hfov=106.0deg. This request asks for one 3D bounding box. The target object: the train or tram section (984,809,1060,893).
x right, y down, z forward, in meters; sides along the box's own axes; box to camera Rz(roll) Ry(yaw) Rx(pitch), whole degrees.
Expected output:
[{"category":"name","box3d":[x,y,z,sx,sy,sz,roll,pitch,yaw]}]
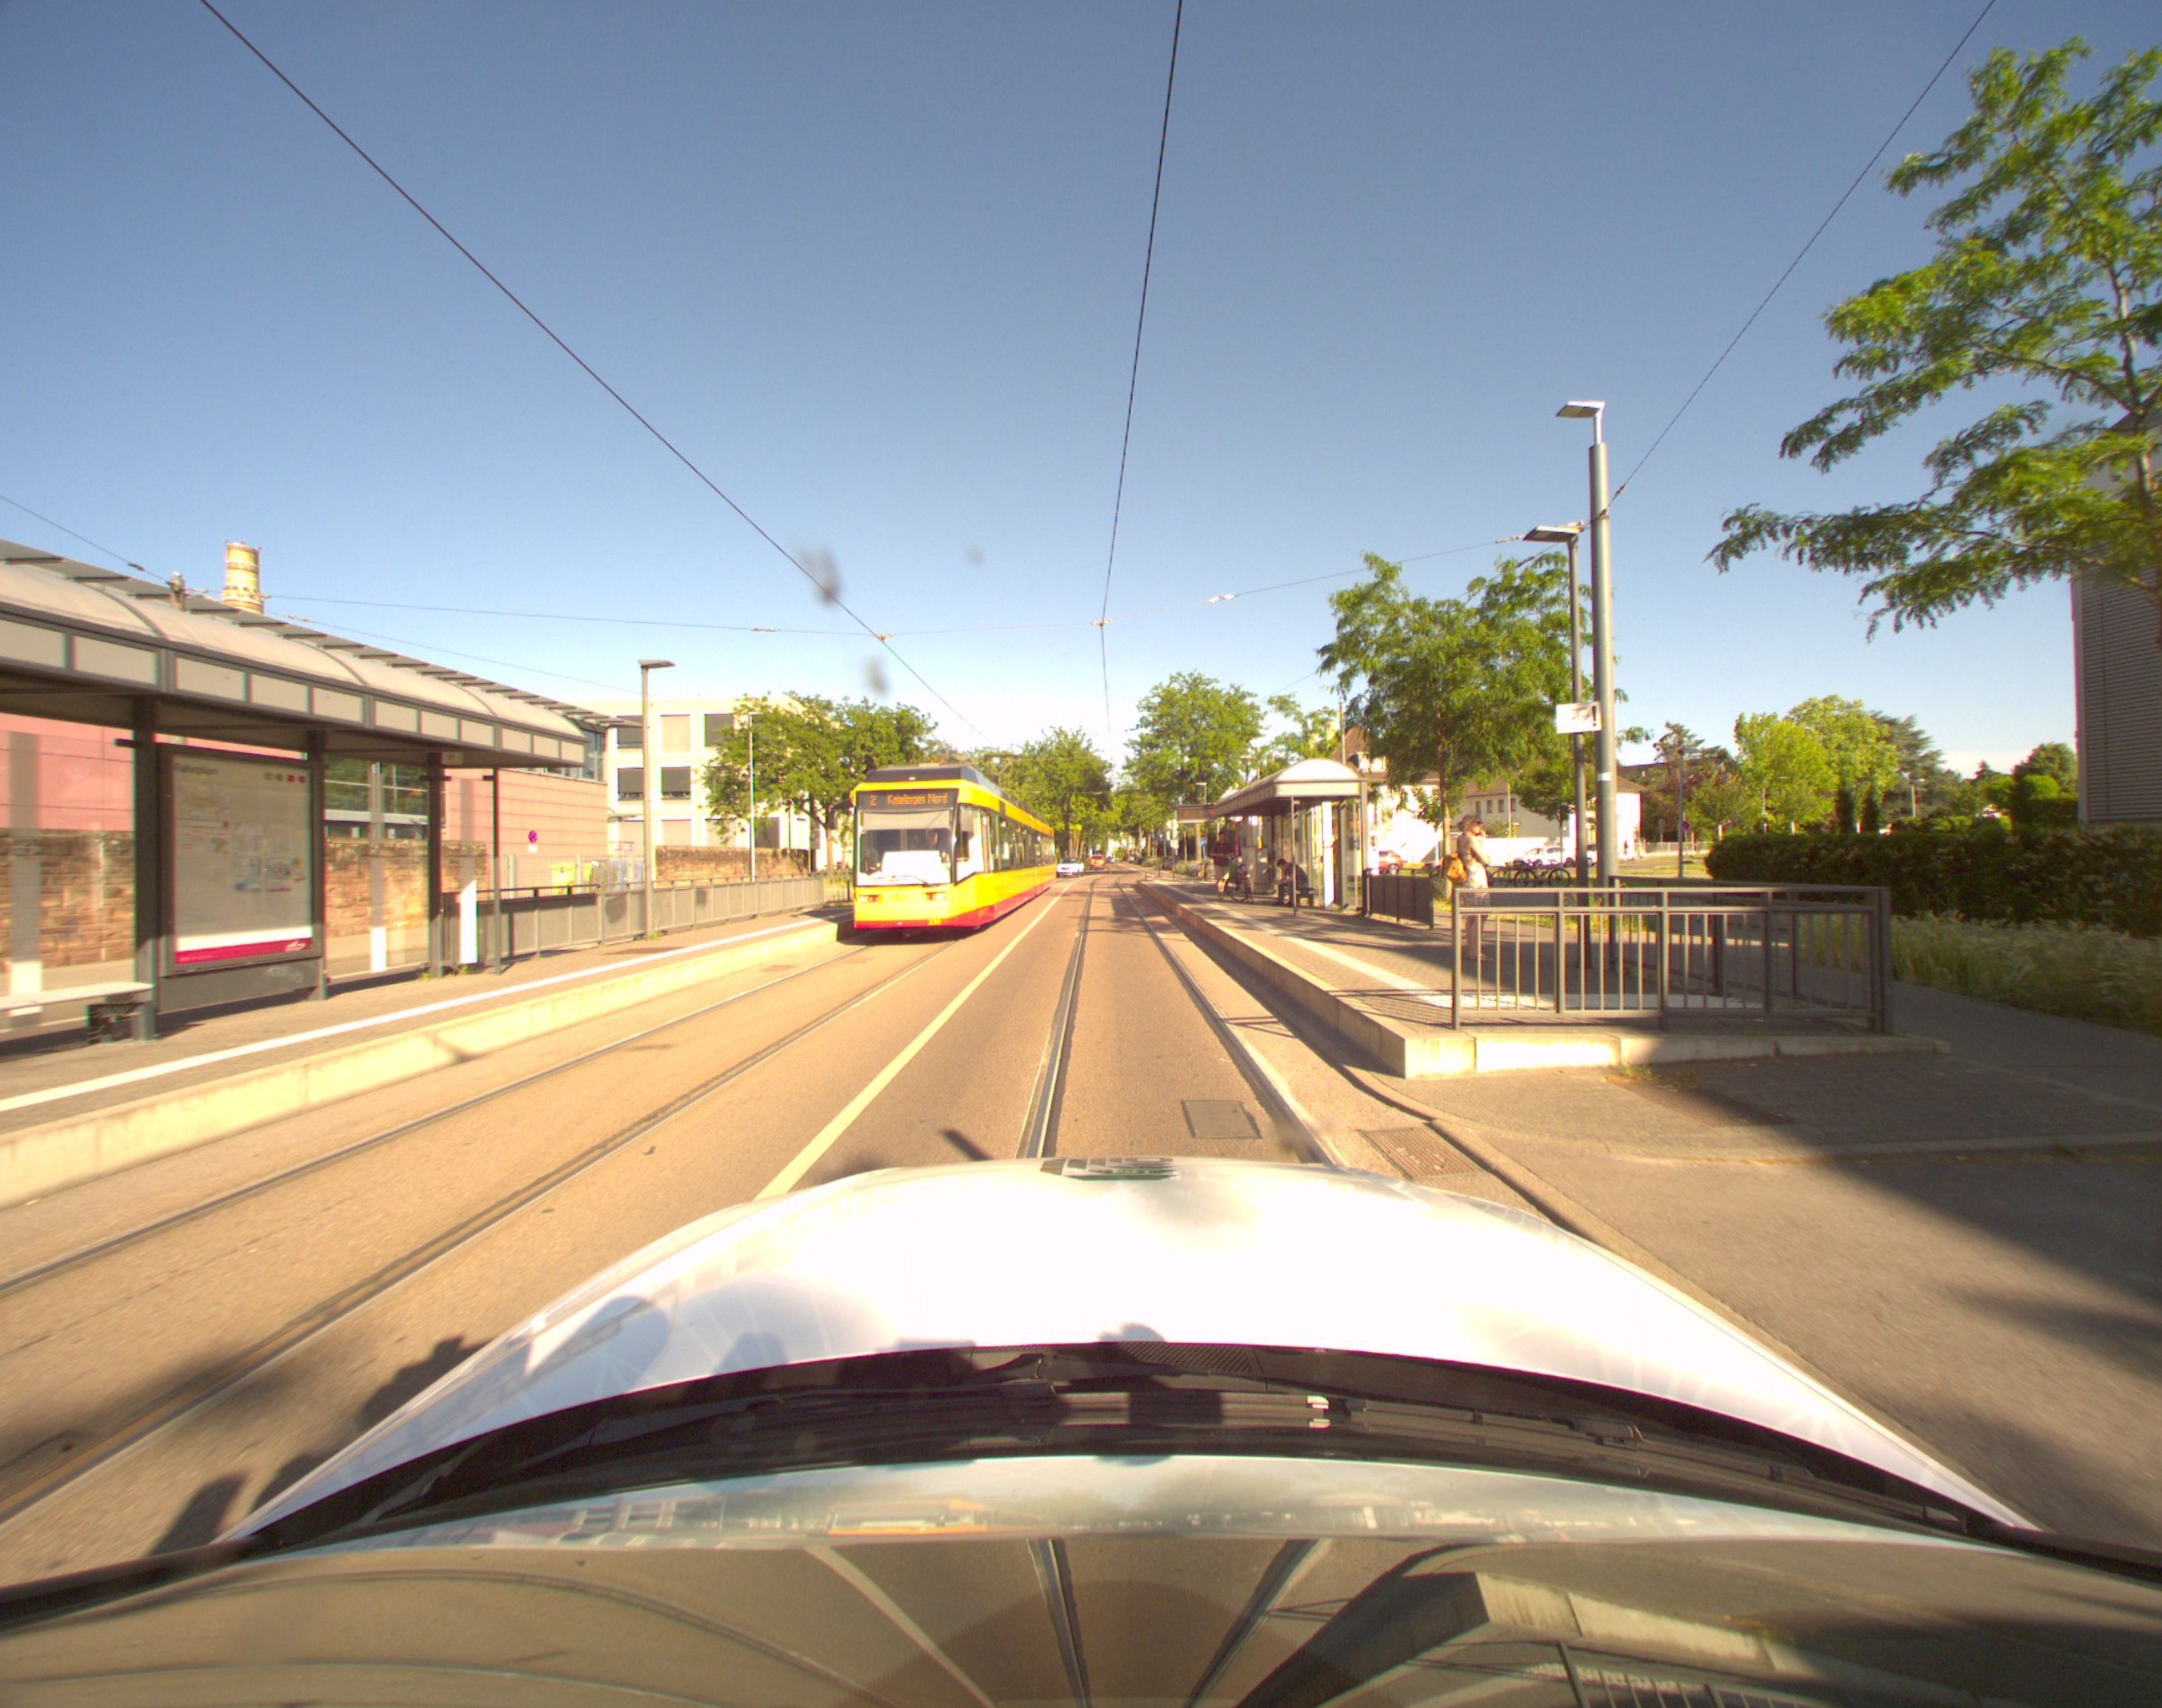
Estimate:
[{"category":"train or tram section","box3d":[-2.559,-0.120,37.399,2.794,3.460,6.670,-1,0,1]}]

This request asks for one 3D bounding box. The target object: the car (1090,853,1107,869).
[{"category":"car","box3d":[2.291,0.895,107.983,1.988,1.966,4.931,-1,0,-1]}]

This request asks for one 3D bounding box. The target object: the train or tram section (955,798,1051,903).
[{"category":"train or tram section","box3d":[-2.738,-0.113,30.700,2.794,3.460,6.670,-1,0,1]}]

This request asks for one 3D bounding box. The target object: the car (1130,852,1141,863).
[{"category":"car","box3d":[12.533,0.809,187.629,2.237,2.654,5.586,-1,0,1]}]

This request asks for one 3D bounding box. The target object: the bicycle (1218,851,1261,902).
[{"category":"bicycle","box3d":[3.953,0.543,20.470,0.618,1.229,1.965,0,0,-3]}]

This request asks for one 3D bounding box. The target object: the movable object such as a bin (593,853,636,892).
[{"category":"movable object such as a bin","box3d":[-18.012,0.703,31.460,0.878,1.447,1.309,-1,-1,0]}]

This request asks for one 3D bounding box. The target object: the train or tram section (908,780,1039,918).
[{"category":"train or tram section","box3d":[-2.904,-0.125,24.002,2.794,3.460,6.670,-1,0,1]}]

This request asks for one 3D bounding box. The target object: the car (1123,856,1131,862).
[{"category":"car","box3d":[13.366,1.541,237.377,1.993,1.675,4.398,-3,0,5]}]

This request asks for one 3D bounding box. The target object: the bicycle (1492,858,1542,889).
[{"category":"bicycle","box3d":[14.462,0.648,27.018,1.468,0.979,0.415,-1,-1,-6]}]

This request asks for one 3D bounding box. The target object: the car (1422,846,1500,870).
[{"category":"car","box3d":[24.741,0.269,53.092,4.147,1.508,1.983,-1,0,1]}]

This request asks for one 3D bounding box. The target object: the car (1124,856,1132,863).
[{"category":"car","box3d":[12.643,1.490,219.630,1.996,1.675,4.393,-3,0,1]}]

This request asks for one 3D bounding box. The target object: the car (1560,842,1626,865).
[{"category":"car","box3d":[35.269,-0.027,56.094,4.006,1.574,1.984,0,0,-25]}]

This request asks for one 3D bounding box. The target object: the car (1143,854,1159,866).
[{"category":"car","box3d":[11.159,1.006,130.092,1.987,1.704,4.477,-4,0,0]}]

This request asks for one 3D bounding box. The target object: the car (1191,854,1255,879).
[{"category":"car","box3d":[9.155,0.782,52.450,3.961,1.508,1.988,-1,0,10]}]

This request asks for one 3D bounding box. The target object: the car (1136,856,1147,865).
[{"category":"car","box3d":[11.625,1.272,156.477,1.778,1.448,4.299,-4,0,-1]}]

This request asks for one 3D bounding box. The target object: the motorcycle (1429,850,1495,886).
[{"category":"motorcycle","box3d":[14.254,0.523,30.483,2.074,1.274,0.860,-1,-1,-6]}]

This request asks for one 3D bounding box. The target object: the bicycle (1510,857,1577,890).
[{"category":"bicycle","box3d":[14.500,0.613,25.550,1.895,0.979,0.490,-1,-1,-6]}]

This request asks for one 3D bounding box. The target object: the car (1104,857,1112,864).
[{"category":"car","box3d":[6.677,1.494,201.160,1.859,1.675,4.174,-2,0,2]}]

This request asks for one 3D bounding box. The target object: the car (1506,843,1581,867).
[{"category":"car","box3d":[30.648,0.075,54.022,4.172,1.508,1.971,-1,0,-16]}]

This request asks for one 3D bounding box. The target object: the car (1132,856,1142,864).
[{"category":"car","box3d":[11.397,1.197,166.345,1.621,1.397,3.646,-4,0,1]}]

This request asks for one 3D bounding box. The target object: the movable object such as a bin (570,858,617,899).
[{"category":"movable object such as a bin","box3d":[-17.762,0.889,29.711,0.878,1.447,1.309,-1,-1,0]}]

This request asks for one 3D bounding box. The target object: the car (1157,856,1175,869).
[{"category":"car","box3d":[10.169,1.012,97.174,1.742,1.495,3.997,-2,0,1]}]

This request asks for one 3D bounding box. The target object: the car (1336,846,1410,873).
[{"category":"car","box3d":[18.951,0.366,52.971,4.150,1.642,1.981,-1,0,-1]}]

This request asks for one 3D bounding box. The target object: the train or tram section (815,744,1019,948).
[{"category":"train or tram section","box3d":[-3.069,-0.137,17.297,2.794,3.460,6.670,-1,0,1]}]

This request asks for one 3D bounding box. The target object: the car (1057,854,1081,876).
[{"category":"car","box3d":[-0.924,0.878,65.131,1.759,1.663,4.209,-2,0,0]}]

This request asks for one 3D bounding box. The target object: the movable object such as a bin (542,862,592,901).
[{"category":"movable object such as a bin","box3d":[-17.585,0.937,27.897,0.878,1.285,1.309,-1,0,-1]}]

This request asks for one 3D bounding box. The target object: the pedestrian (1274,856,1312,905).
[{"category":"pedestrian","box3d":[4.963,0.616,19.125,0.735,1.117,0.658,0,0,0]}]

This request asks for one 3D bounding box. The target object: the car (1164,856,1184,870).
[{"category":"car","box3d":[10.424,0.996,91.556,1.742,1.495,4.444,-2,0,1]}]

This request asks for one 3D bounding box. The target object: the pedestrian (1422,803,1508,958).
[{"category":"pedestrian","box3d":[4.390,0.292,9.342,0.669,1.704,0.690,0,0,0]}]

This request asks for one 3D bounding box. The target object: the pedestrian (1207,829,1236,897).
[{"category":"pedestrian","box3d":[3.890,0.238,22.650,0.708,1.853,0.729,0,0,3]}]

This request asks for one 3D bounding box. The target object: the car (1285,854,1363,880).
[{"category":"car","box3d":[15.091,0.853,50.704,4.569,1.466,1.990,-2,-2,15]}]

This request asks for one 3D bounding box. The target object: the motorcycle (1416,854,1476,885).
[{"category":"motorcycle","box3d":[14.352,0.610,32.062,1.995,1.158,0.860,-1,-1,-6]}]
